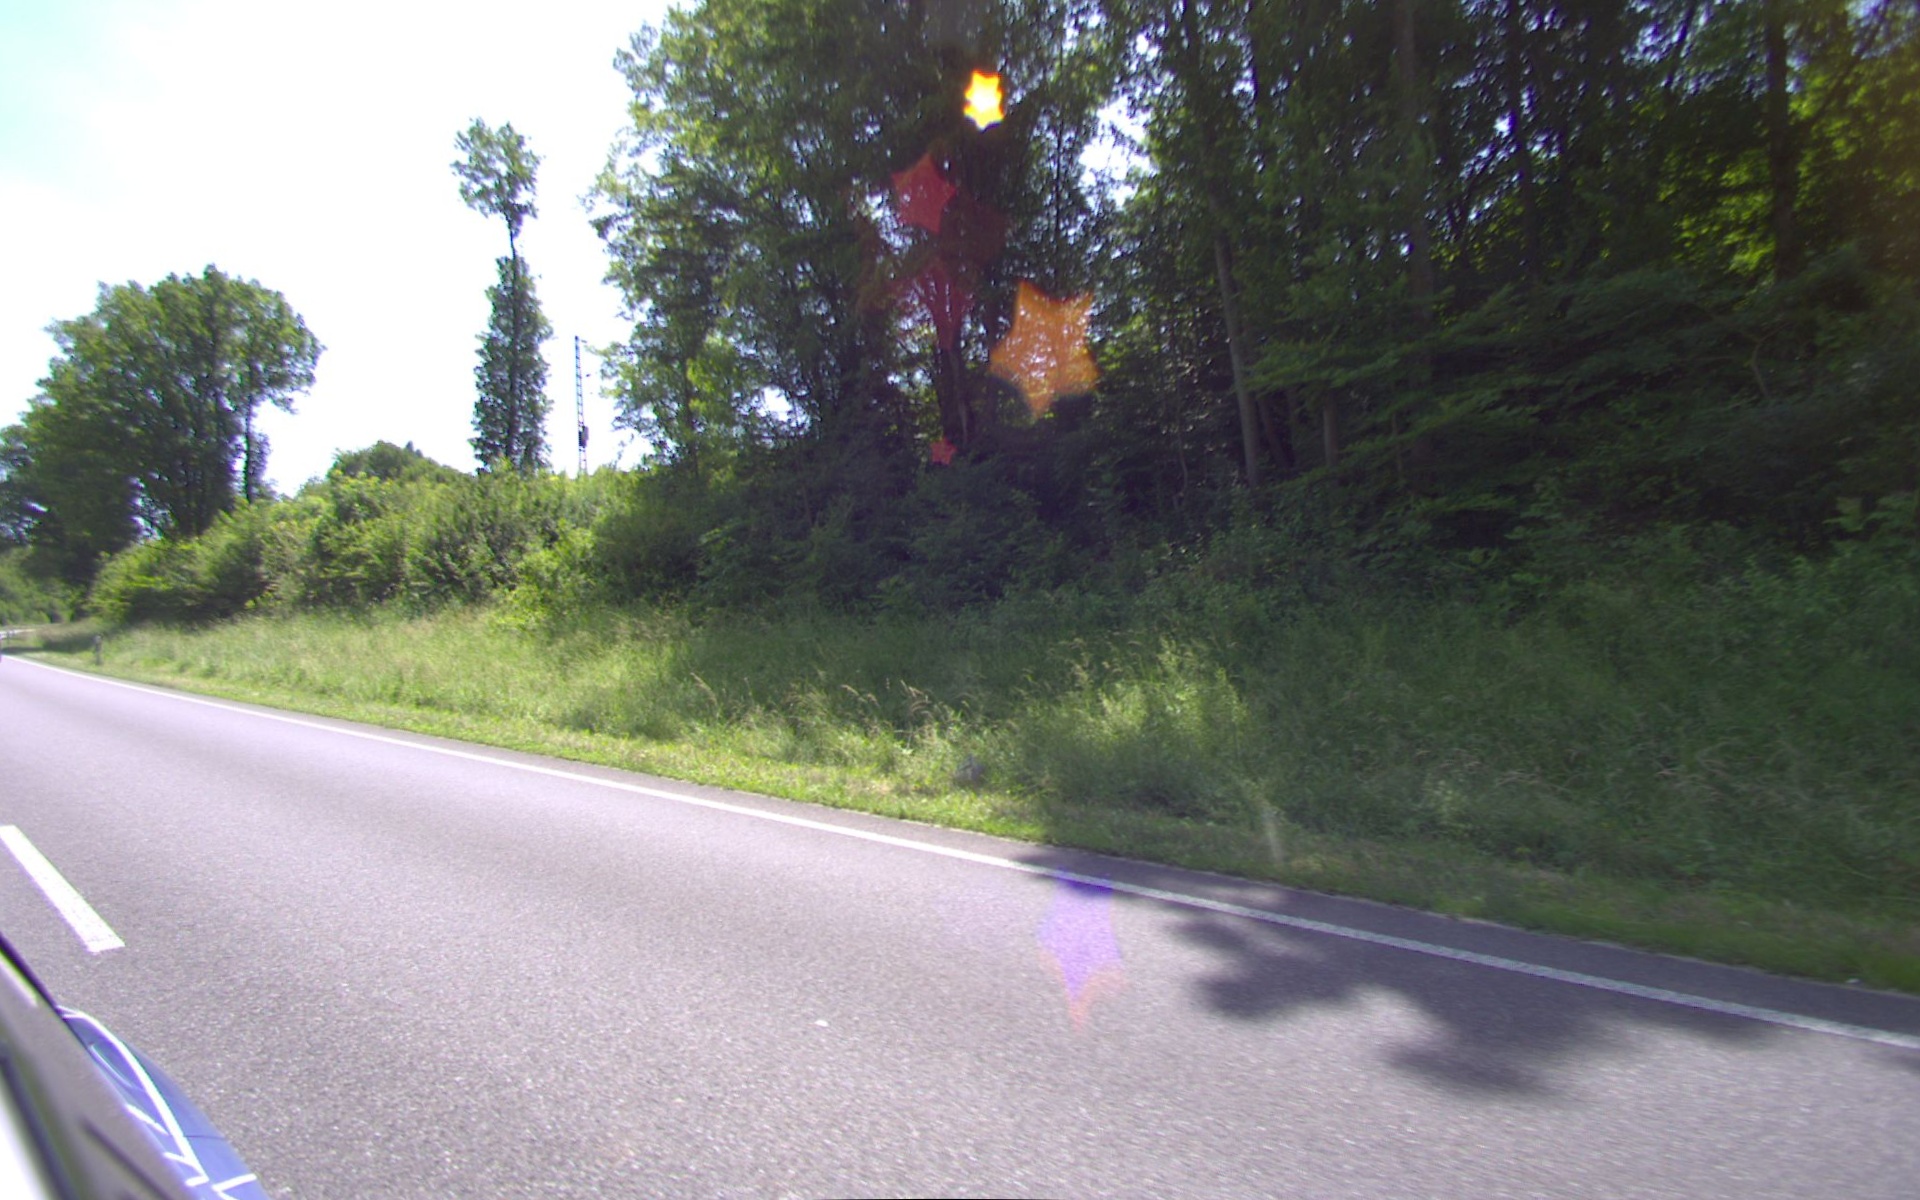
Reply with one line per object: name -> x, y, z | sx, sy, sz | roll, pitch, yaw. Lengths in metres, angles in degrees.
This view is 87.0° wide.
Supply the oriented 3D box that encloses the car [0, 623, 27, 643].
car -> -99.314, 3.415, 106.208 | 1.969, 2.029, 4.005 | 0, -1, -42
